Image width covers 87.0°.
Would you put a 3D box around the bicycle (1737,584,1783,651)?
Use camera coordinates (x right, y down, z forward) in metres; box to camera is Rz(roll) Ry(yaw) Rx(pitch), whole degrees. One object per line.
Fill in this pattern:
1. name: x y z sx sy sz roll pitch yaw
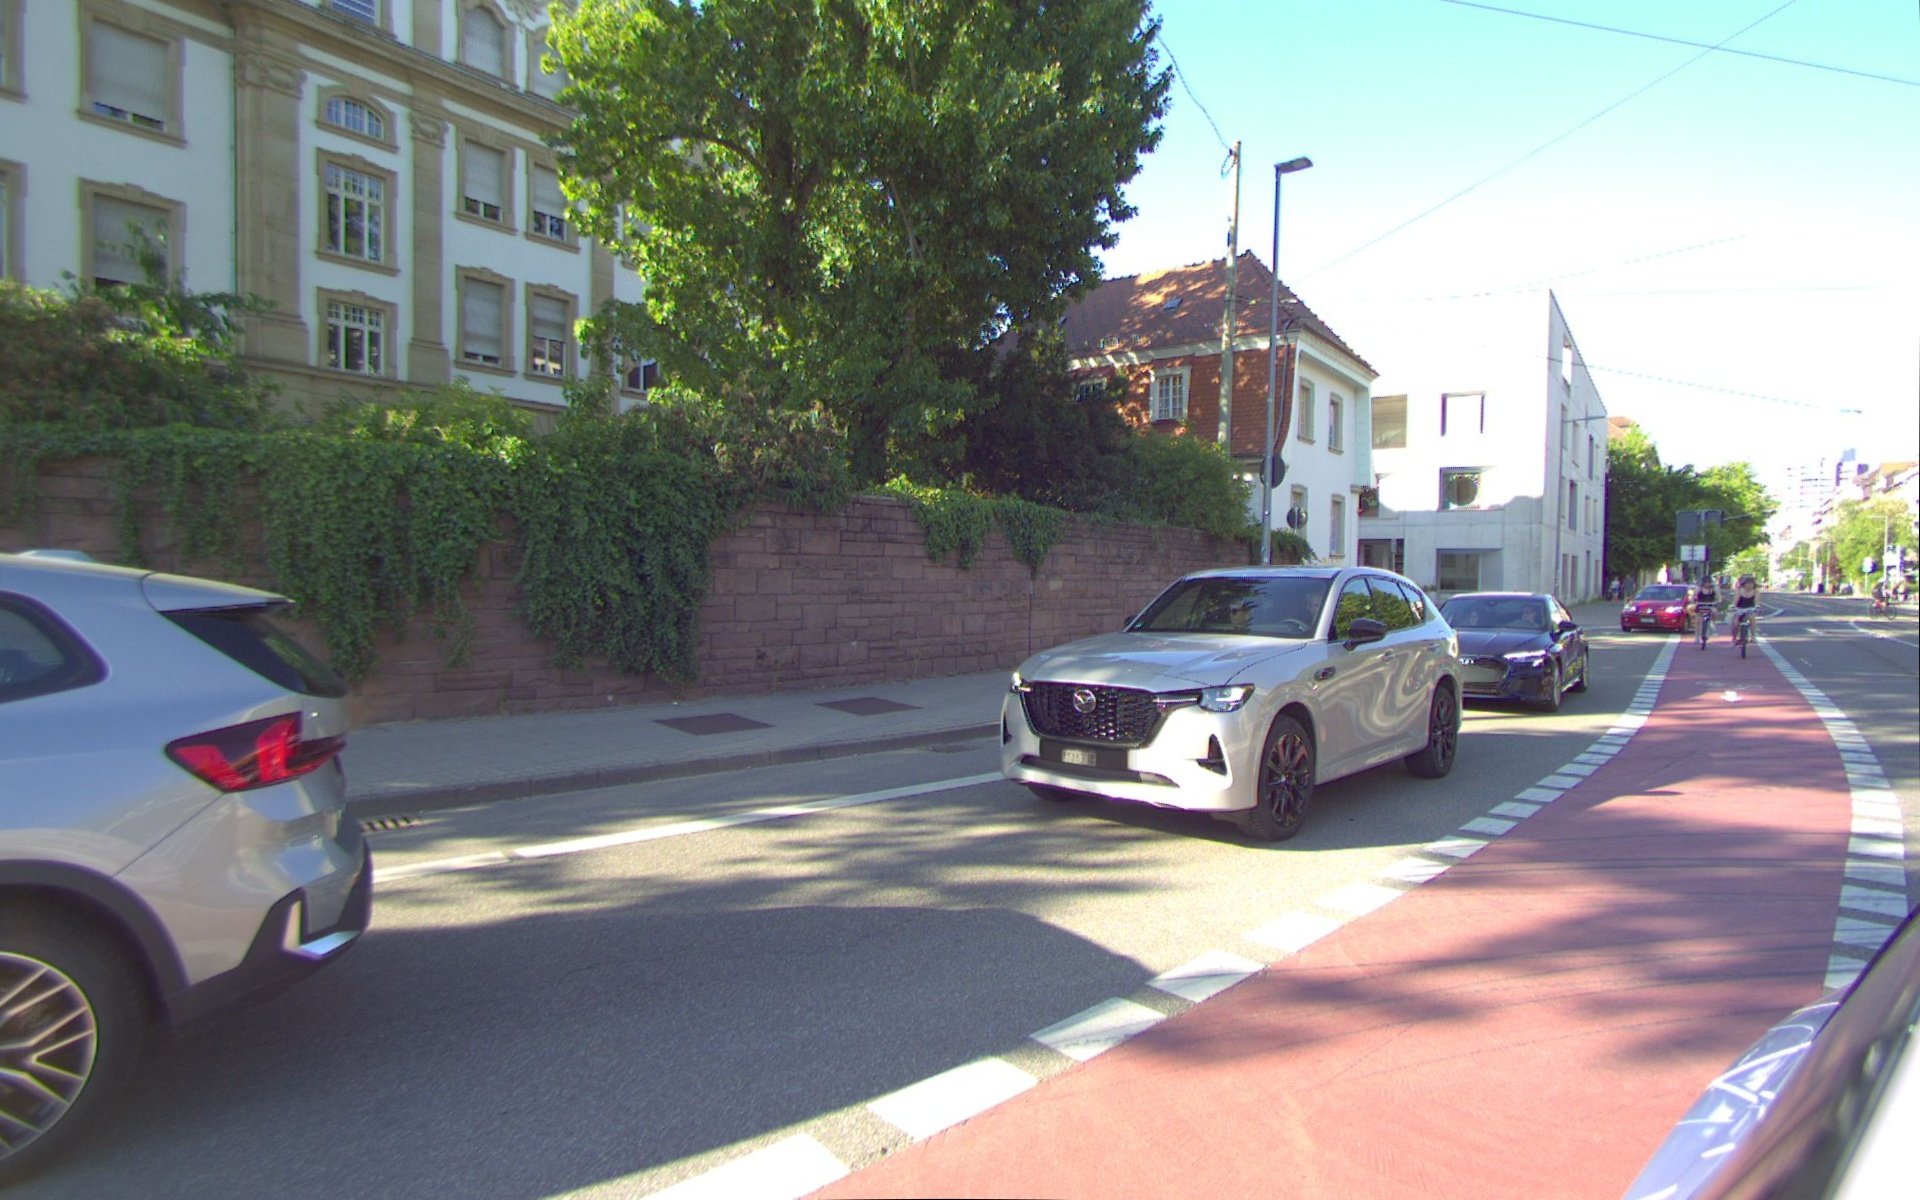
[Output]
1. bicycle: 16.379 0.313 20.726 0.673 1.265 2.422 2 2 39

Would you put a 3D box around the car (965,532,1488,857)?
1. car: 2.260 0.462 7.646 1.940 1.713 4.461 0 1 43

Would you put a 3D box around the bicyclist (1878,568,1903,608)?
1. bicyclist: 39.801 -0.520 43.300 0.672 1.667 1.015 2 2 39

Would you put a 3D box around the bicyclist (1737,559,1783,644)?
1. bicyclist: 16.333 0.010 20.665 0.672 1.667 1.015 2 2 39

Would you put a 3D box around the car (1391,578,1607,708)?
1. car: 7.244 0.452 13.409 1.781 1.451 3.943 0 1 40

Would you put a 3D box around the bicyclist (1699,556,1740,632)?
1. bicyclist: 17.345 -0.150 23.106 0.672 1.667 1.015 2 2 39

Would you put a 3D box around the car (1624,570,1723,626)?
1. car: 21.515 -0.086 30.493 3.587 1.580 1.647 -1 1 -41

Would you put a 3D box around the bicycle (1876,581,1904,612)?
1. bicycle: 39.818 -0.181 43.345 0.673 1.265 2.422 2 2 39

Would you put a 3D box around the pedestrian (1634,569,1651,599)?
1. pedestrian: 38.189 -0.921 56.623 0.672 1.668 0.806 1 1 39

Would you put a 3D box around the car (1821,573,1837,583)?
1. car: 139.105 -3.518 162.039 1.639 1.580 3.604 0 1 35

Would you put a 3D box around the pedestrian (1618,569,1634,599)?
1. pedestrian: 37.596 -0.922 57.118 0.672 1.668 0.806 1 1 39

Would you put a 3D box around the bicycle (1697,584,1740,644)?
1. bicycle: 17.333 0.284 23.109 0.673 1.265 2.422 2 2 39

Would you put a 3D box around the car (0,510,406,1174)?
1. car: -3.865 0.596 2.445 4.248 1.614 1.792 -1 0 -36
